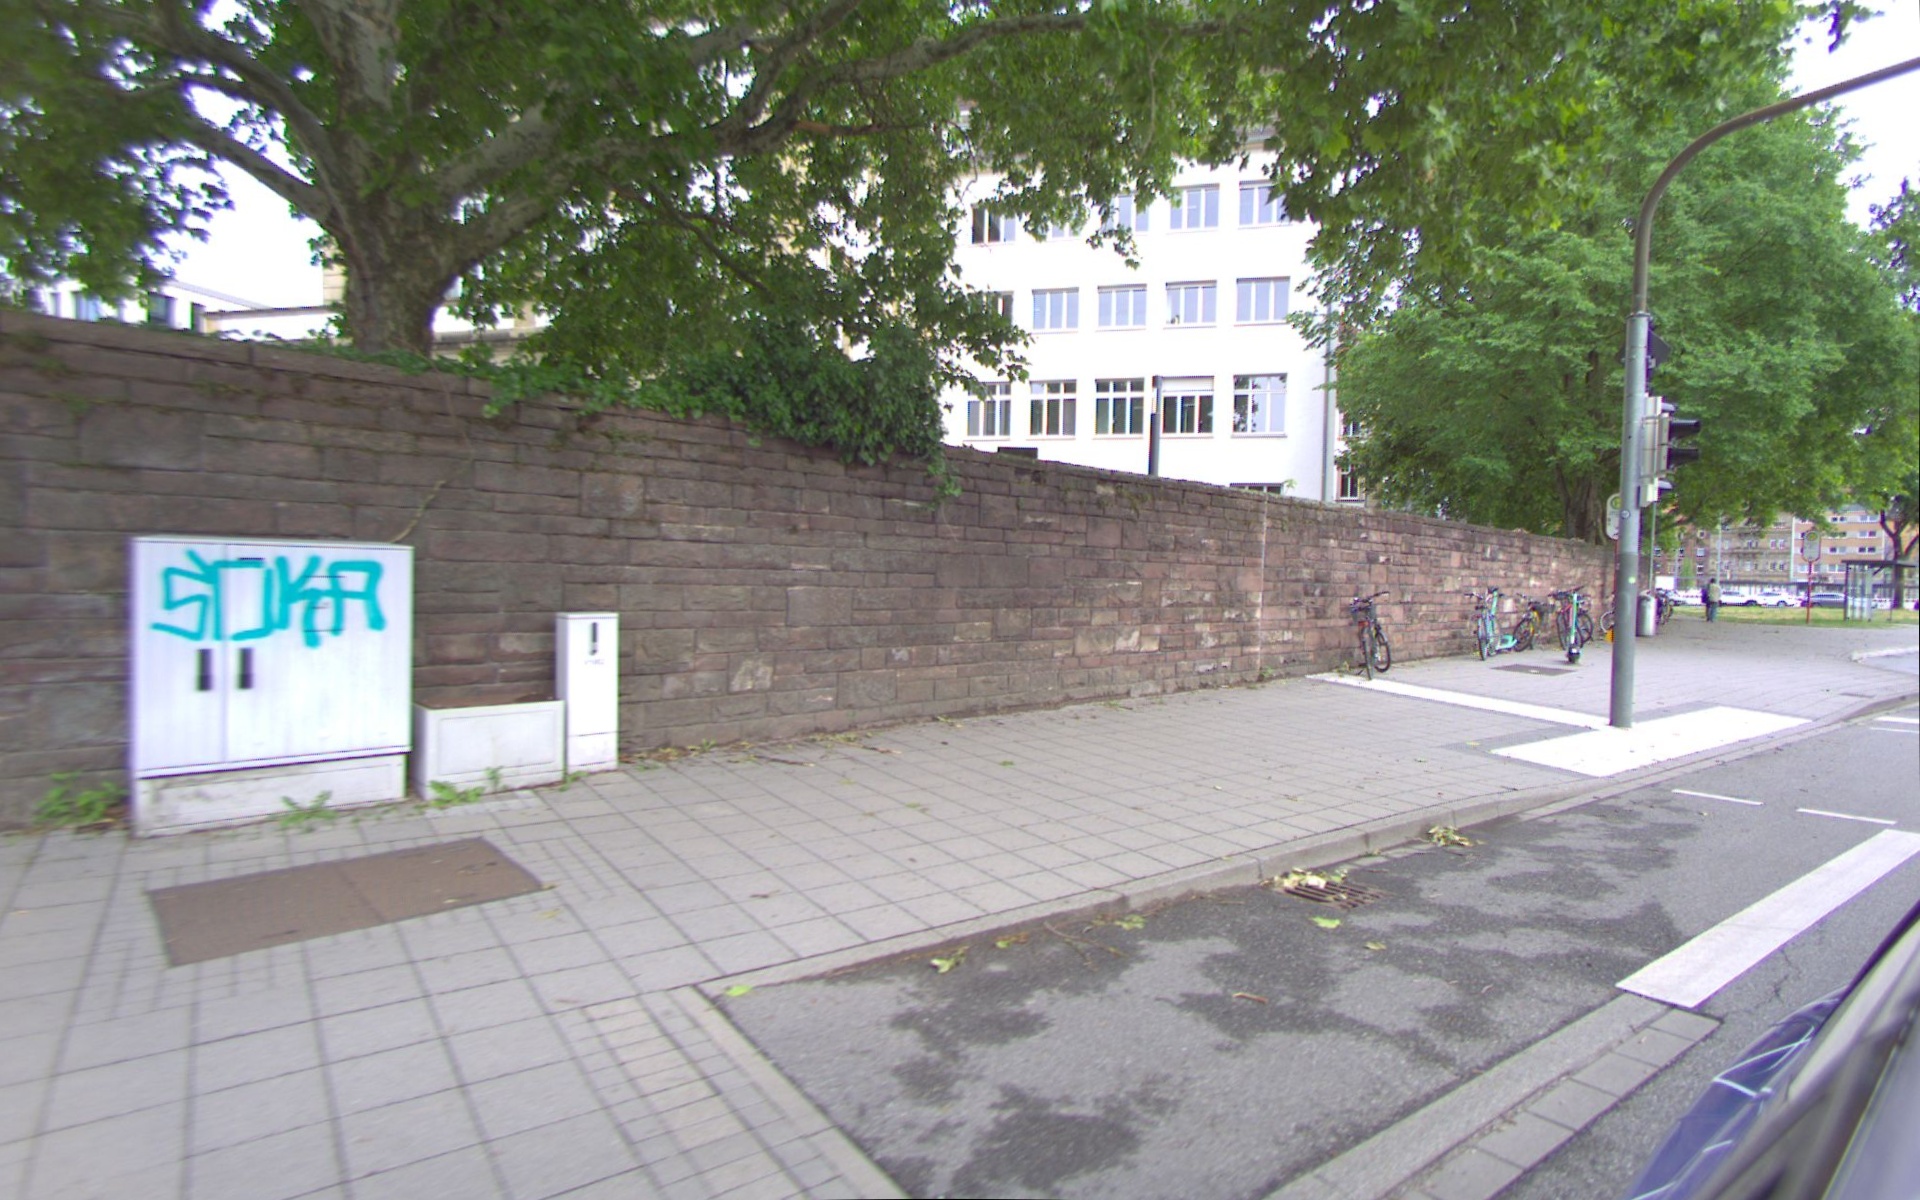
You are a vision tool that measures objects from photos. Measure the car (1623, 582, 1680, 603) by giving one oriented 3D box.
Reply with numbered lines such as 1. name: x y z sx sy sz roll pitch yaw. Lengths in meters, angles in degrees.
1. car: 67.338 -0.755 98.567 1.965 2.039 4.279 0 0 -40

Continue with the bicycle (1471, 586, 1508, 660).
1. bicycle: 8.797 0.350 16.788 0.383 1.158 1.919 0 0 32

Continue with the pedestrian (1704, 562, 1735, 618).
1. pedestrian: 28.904 -0.392 38.526 0.779 2.037 0.878 4 4 34

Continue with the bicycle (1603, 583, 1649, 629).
1. bicycle: 16.512 0.127 25.069 2.049 1.089 0.477 -1 2 -44

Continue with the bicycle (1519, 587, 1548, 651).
1. bicycle: 10.863 0.327 19.139 0.383 1.158 1.919 0 0 32

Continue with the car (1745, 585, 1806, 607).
1. car: 73.315 -0.384 91.038 1.966 1.792 3.994 0 3 -42

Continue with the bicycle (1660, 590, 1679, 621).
1. bicycle: 23.287 0.166 33.231 0.361 0.951 1.623 2 2 30

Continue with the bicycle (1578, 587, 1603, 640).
1. bicycle: 14.179 0.293 22.752 0.337 1.158 1.655 0 0 37

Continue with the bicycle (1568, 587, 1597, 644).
1. bicycle: 13.086 0.307 21.269 0.337 1.158 1.916 0 0 37

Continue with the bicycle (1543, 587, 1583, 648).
1. bicycle: 11.970 0.318 20.115 0.382 1.158 1.927 0 0 22

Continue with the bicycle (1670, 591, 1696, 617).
1. bicycle: 29.172 0.144 40.841 0.649 0.951 1.936 2 2 31

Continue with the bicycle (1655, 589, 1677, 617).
1. bicycle: 25.602 0.088 36.720 0.478 0.951 1.879 2 2 30
